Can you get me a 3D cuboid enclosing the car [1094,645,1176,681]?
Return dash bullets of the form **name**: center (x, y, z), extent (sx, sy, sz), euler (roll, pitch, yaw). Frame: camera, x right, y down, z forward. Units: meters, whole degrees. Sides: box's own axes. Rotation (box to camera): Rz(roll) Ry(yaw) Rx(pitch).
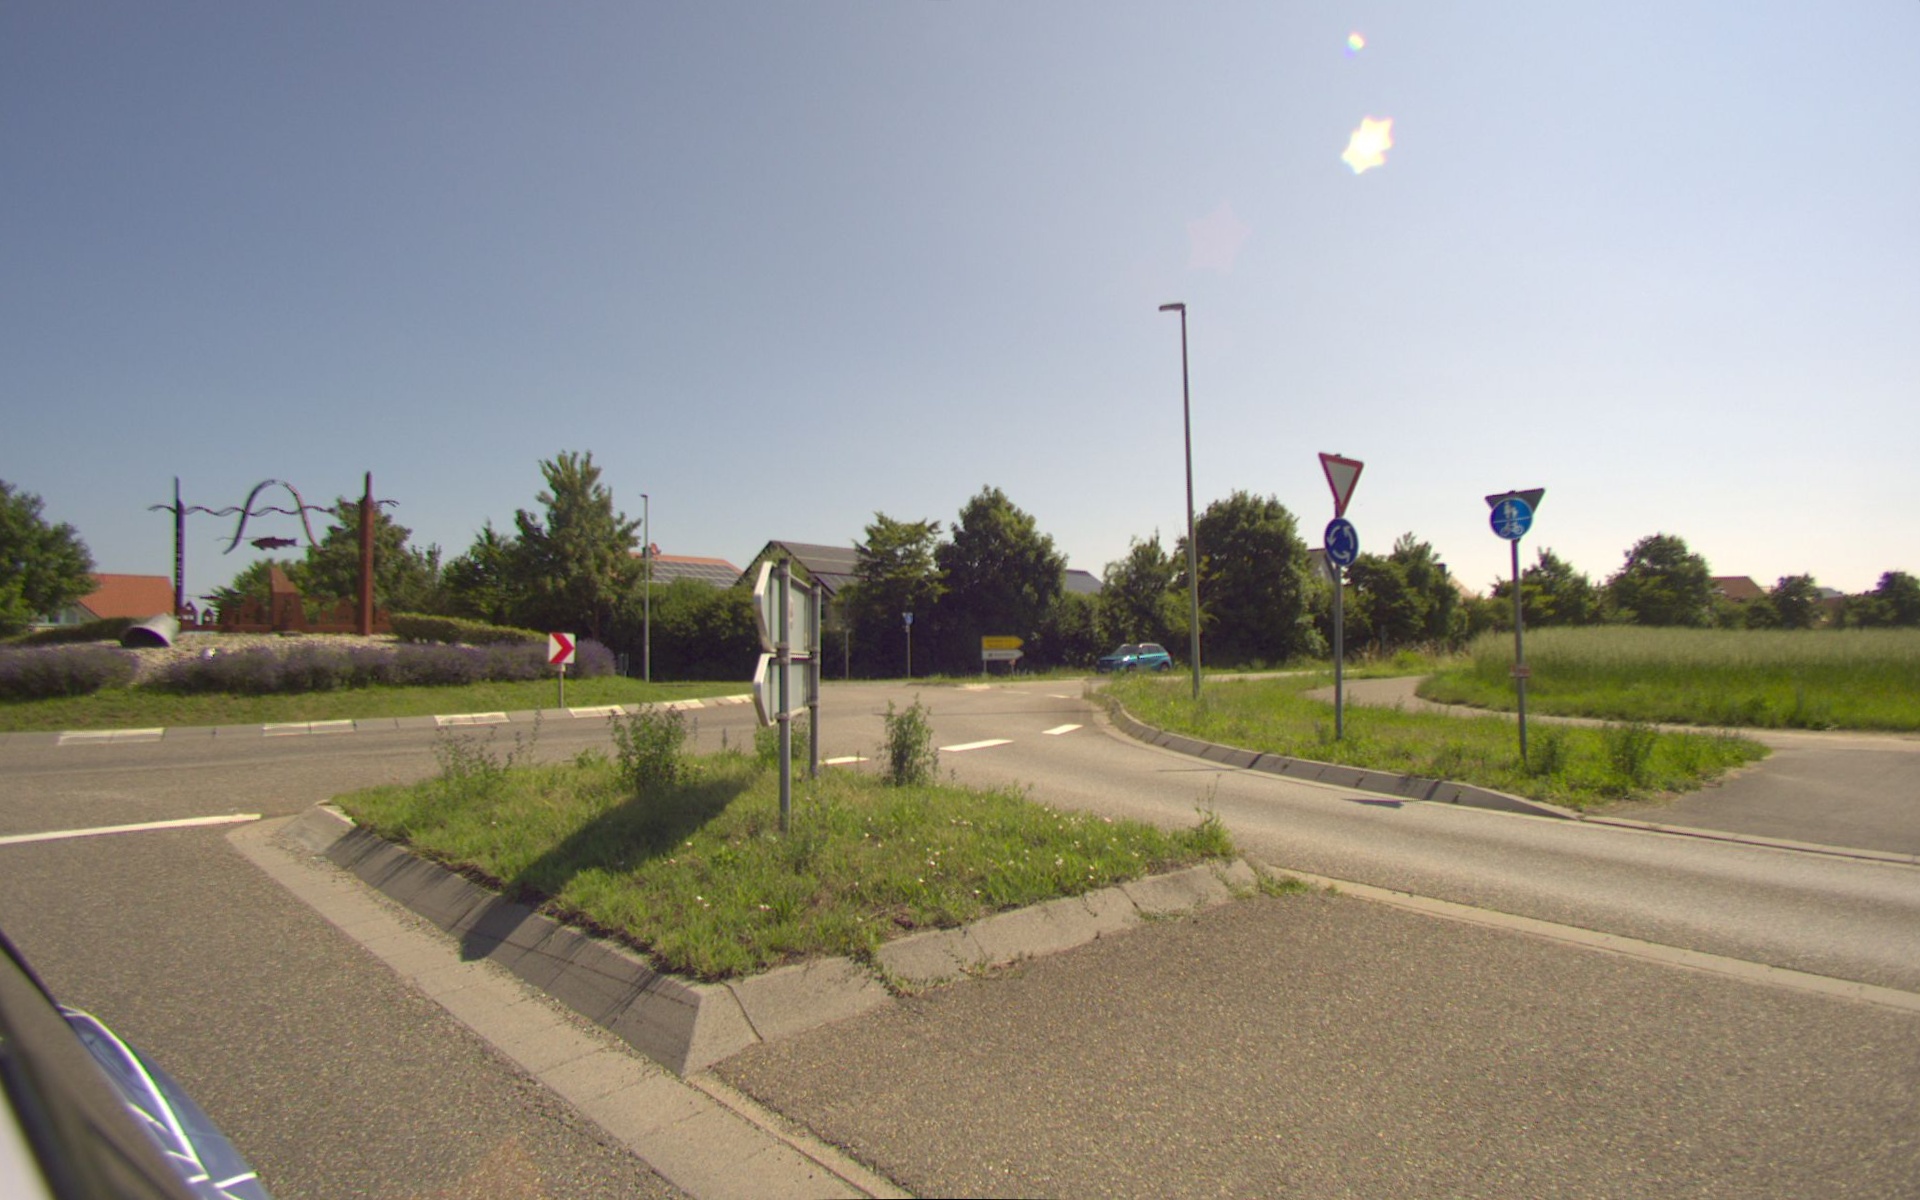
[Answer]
- **car**: center (8.149, 2.886, 46.938), extent (3.939, 1.588, 1.651), euler (2, -4, -42)
